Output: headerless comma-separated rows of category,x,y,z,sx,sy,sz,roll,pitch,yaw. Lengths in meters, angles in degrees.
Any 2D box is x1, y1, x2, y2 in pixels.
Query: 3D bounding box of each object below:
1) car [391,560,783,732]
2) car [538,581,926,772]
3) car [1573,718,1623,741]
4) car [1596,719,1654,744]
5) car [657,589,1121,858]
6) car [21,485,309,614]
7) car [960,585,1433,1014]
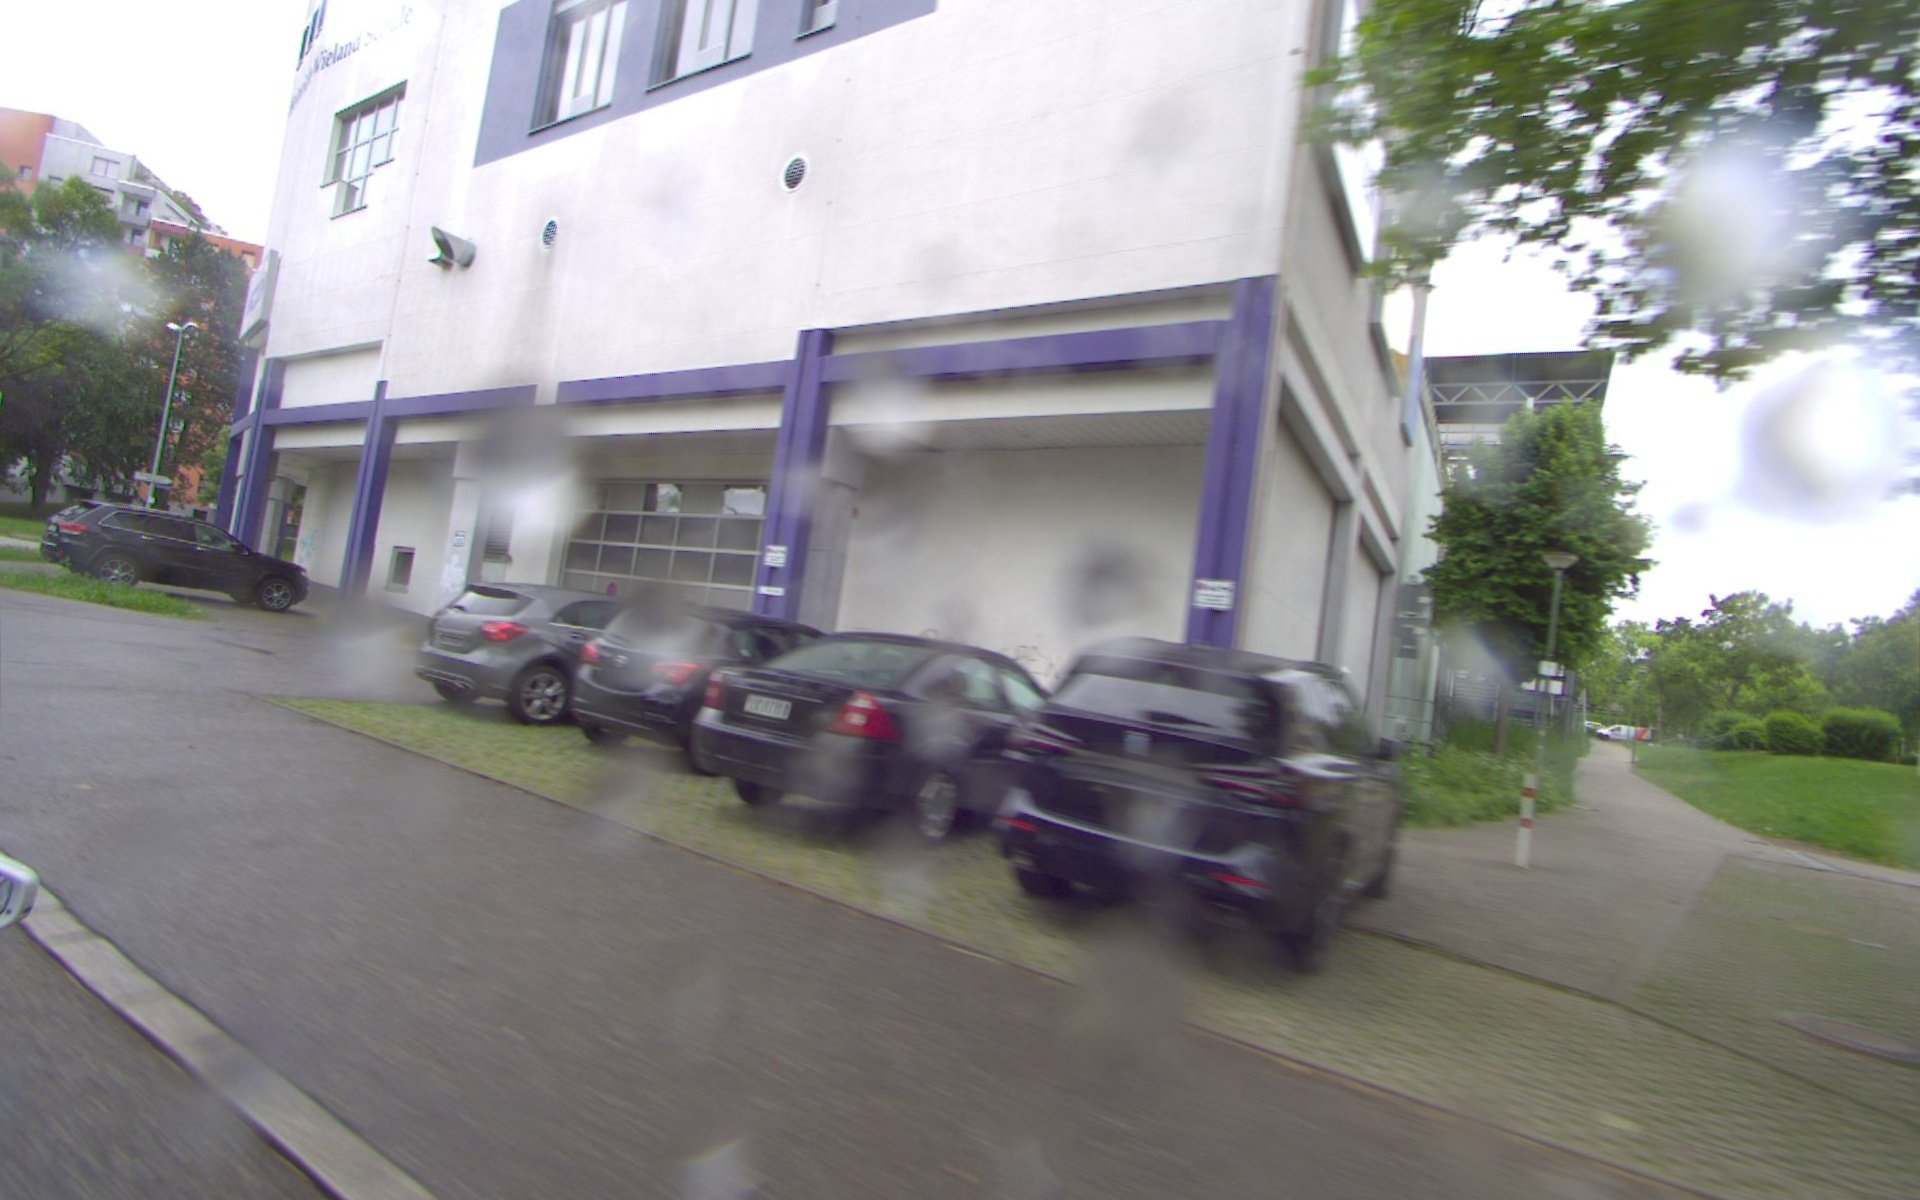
car,-4.187,0.633,11.879,1.694,1.468,3.945,6,-4,36
car,-2.132,0.863,10.341,1.693,1.468,3.626,6,-4,32
car,74.984,15.190,118.354,4.761,1.938,1.999,7,-3,31
car,74.711,14.785,113.114,5.092,2.035,1.999,7,-3,31
car,-0.267,1.000,8.294,1.692,1.494,4.119,6,-4,30
car,-17.084,-1.006,21.846,1.800,1.777,4.390,9,-4,34
car,1.958,1.150,6.801,1.737,1.698,4.485,8,-3,30
